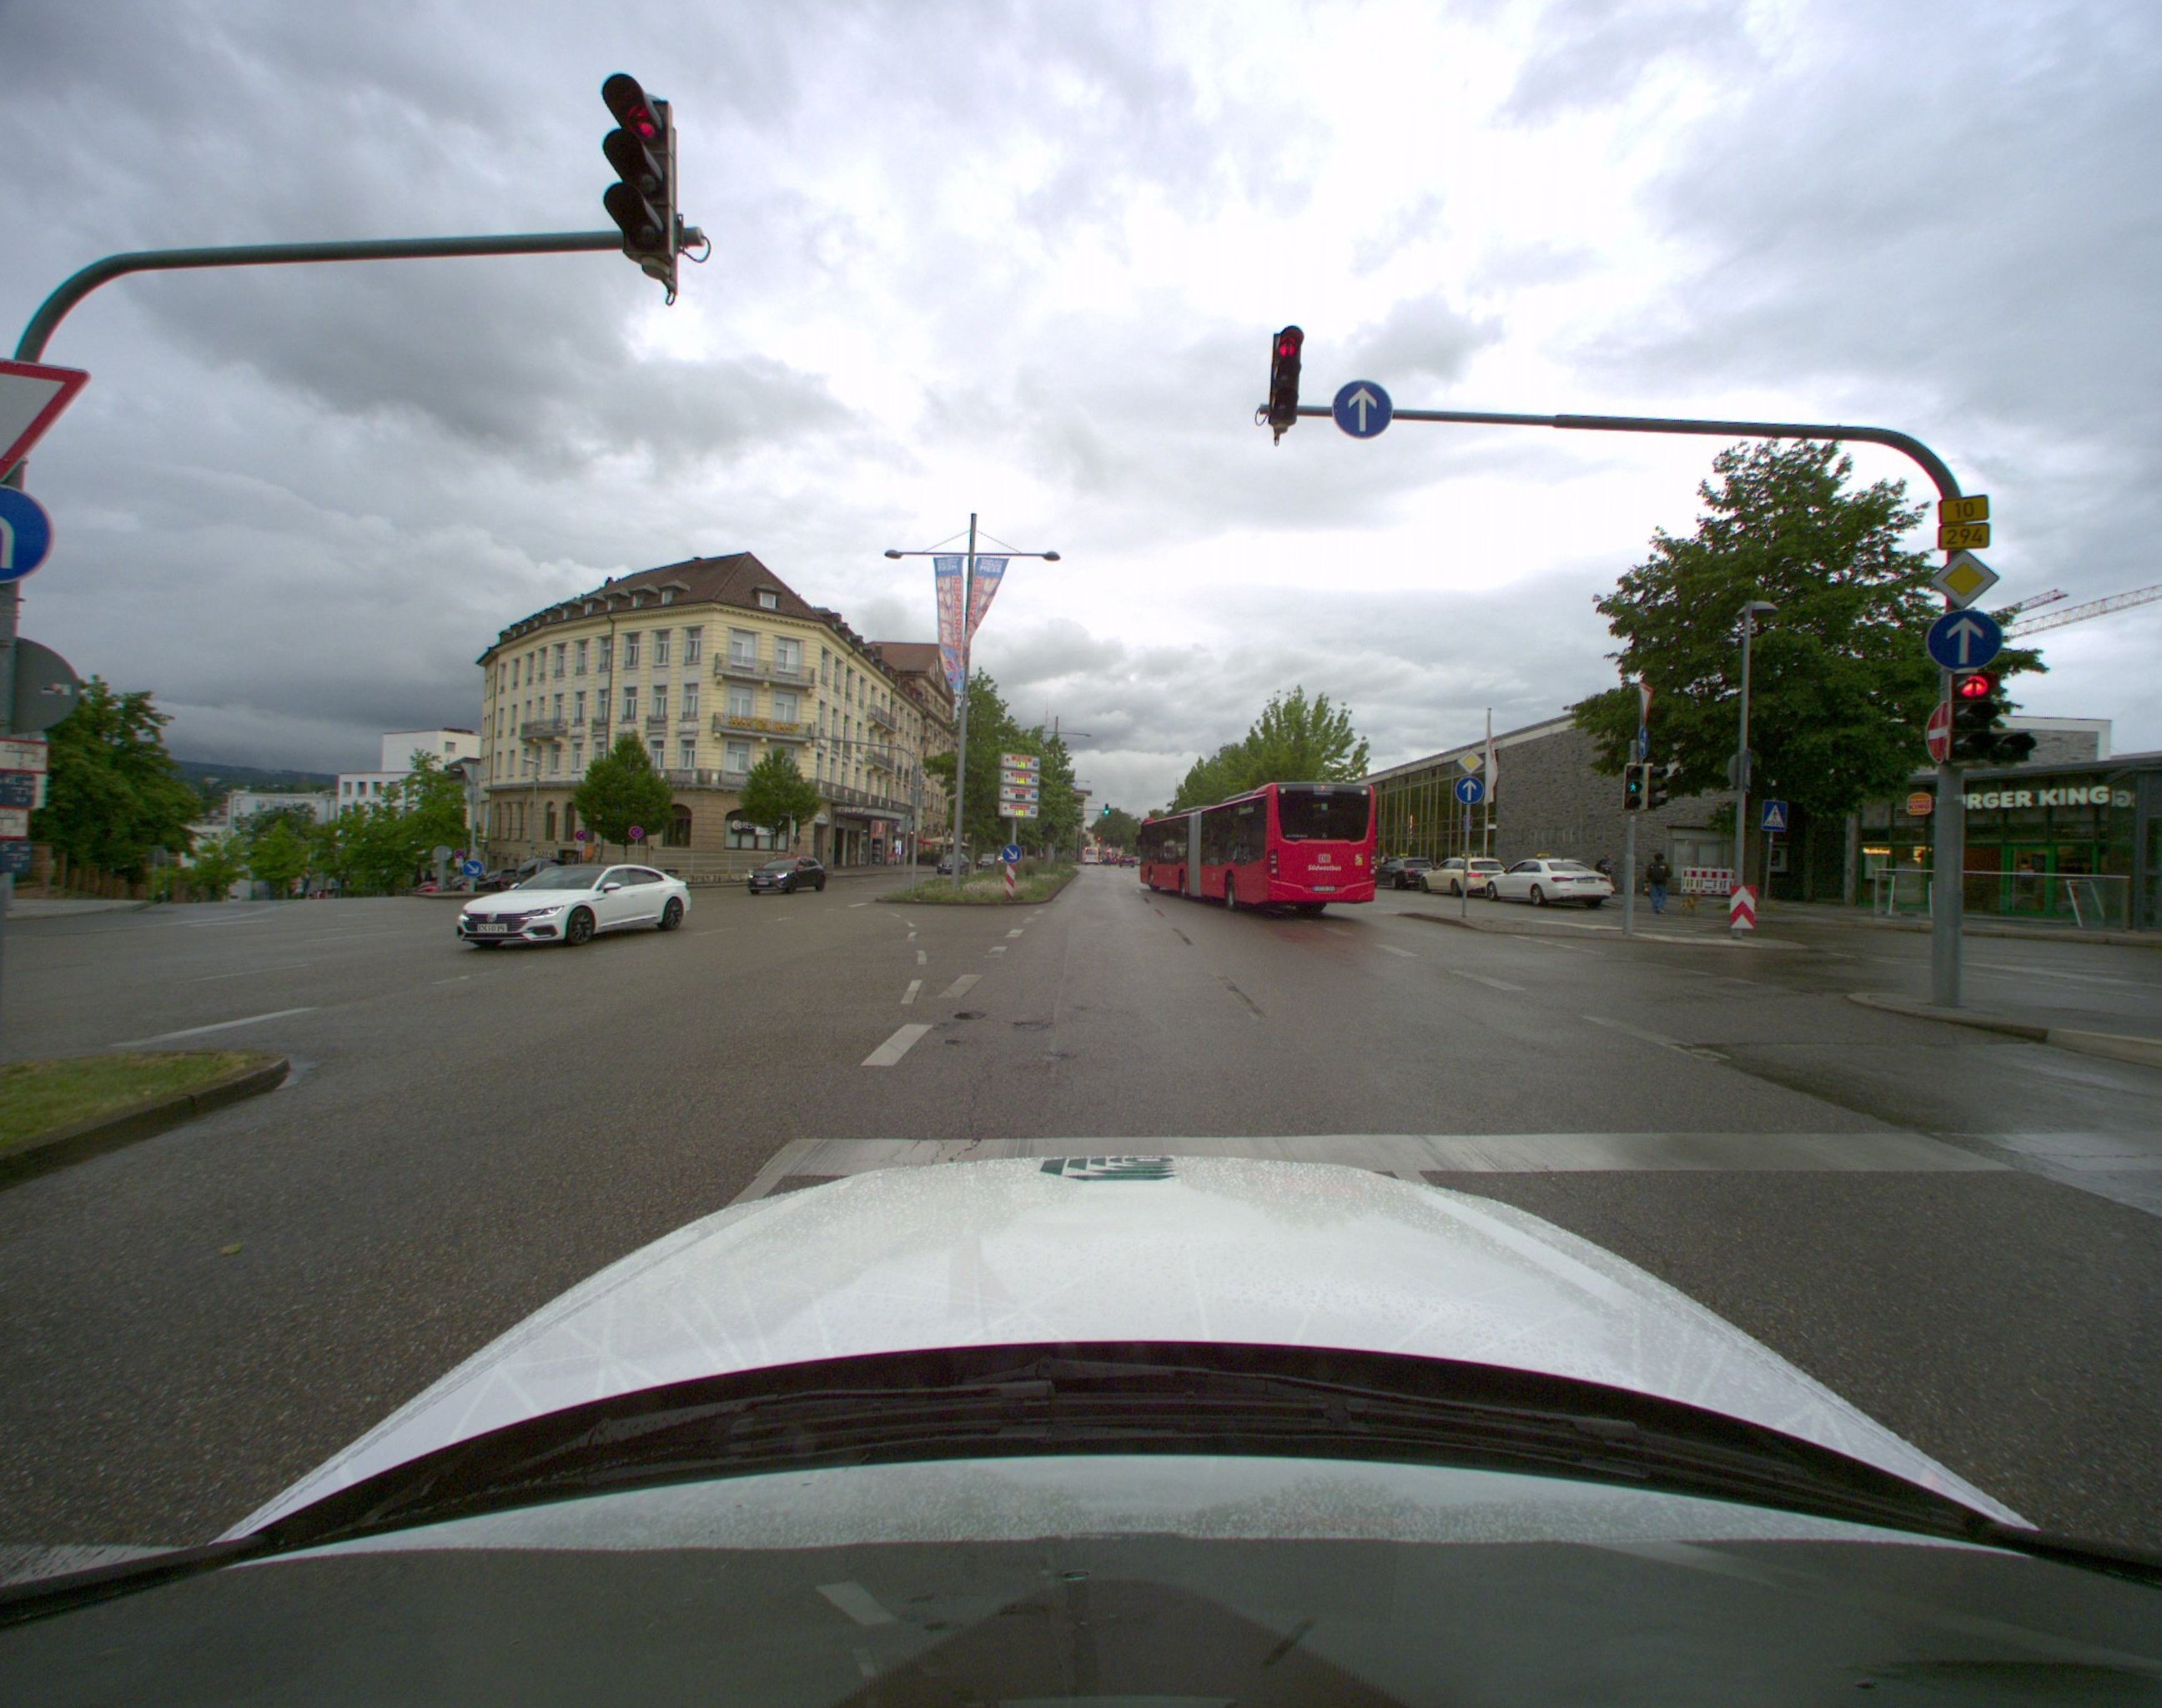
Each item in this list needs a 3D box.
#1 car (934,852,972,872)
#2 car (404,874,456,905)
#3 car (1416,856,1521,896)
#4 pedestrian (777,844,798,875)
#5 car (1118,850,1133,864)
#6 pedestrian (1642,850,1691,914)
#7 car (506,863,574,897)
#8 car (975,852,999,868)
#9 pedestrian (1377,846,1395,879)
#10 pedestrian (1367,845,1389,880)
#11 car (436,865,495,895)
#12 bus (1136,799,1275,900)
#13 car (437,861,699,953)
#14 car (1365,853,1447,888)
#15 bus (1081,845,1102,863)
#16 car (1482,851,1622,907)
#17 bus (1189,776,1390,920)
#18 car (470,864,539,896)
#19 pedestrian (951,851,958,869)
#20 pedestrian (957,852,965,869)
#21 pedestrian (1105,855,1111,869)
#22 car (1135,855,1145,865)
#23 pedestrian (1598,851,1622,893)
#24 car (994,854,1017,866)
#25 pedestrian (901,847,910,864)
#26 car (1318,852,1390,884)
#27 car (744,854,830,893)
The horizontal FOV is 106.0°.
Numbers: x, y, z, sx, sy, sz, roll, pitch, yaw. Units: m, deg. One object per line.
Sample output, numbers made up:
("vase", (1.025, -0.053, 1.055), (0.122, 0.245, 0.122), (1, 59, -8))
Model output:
("car", (-9.189, 0.559, 58.704), (1.747, 1.441, 4.064), (0, 0, 4))
("car", (-41.191, 2.208, 51.498), (3.575, 1.812, 1.788), (0, 0, 38))
("car", (14.785, 0.789, 31.387), (1.840, 1.452, 4.666), (0, 0, 0))
("pedestrian", (-17.690, 0.329, 49.098), (0.860, 1.878, 1.023), (0, 0, 1))
("car", (6.135, 0.425, 112.742), (1.986, 1.806, 4.691), (0, 0, 2))
("pedestrian", (15.473, 0.734, 21.542), (0.805, 1.674, 0.713), (0, 0, 1))
("car", (-27.103, 1.271, 40.778), (3.949, 1.568, 1.812), (0, 0, 41))
("car", (-8.492, 0.541, 74.086), (1.750, 1.369, 4.058), (0, 0, -1))
("pedestrian", (18.955, 0.506, 50.636), (0.808, 2.014, 0.922), (0, 0, 2))
("pedestrian", (17.286, 0.478, 47.366), (0.814, 2.014, 0.914), (1, 0, -22))
("car", (-36.314, 1.491, 48.039), (3.864, 1.640, 1.805), (0, 0, 37))
("bus", (4.313, -0.125, 30.860), (2.739, 3.174, 10.173), (0, 0, -6))
("car", (-9.404, 0.874, 15.552), (1.717, 1.381, 4.864), (0, 1, 3))
("car", (14.883, 0.713, 37.613), (1.907, 1.524, 4.741), (0, 0, 0))
("bus", (1.976, 0.006, 155.942), (3.747, 3.209, 15.527), (0, 0, 1))
("car", (14.646, 0.723, 25.668), (1.768, 1.589, 4.615), (0, 0, 0))
("bus", (5.159, -0.127, 22.032), (2.738, 3.174, 8.106), (0, 0, -5))
("car", (-31.972, 1.415, 45.117), (3.948, 1.640, 2.013), (-1, -1, 37))
("pedestrian", (-12.312, 0.605, 79.335), (0.573, 1.732, 0.609), (0, 0, 1))
("pedestrian", (-11.664, 0.628, 79.240), (0.672, 1.701, 0.634), (0, 0, 1))
("pedestrian", (3.295, 0.967, 99.555), (0.754, 1.701, 0.561), (0, 0, 8))
("car", (11.394, 1.127, 158.018), (1.781, 1.860, 4.001), (0, 0, 2))
("pedestrian", (20.803, 0.692, 32.029), (0.558, 1.633, 0.566), (0, 0, 0))
("car", (-8.275, 0.643, 89.480), (1.747, 1.369, 4.065), (0, 0, 4))
("pedestrian", (-16.147, 0.121, 75.110), (0.666, 1.510, 0.513), (0, -1, -36))
("car", (14.679, 0.715, 44.107), (1.990, 1.600, 4.814), (0, 0, -5))
("car", (-12.041, 0.763, 33.606), (1.622, 1.476, 4.034), (1, 0, 7))
